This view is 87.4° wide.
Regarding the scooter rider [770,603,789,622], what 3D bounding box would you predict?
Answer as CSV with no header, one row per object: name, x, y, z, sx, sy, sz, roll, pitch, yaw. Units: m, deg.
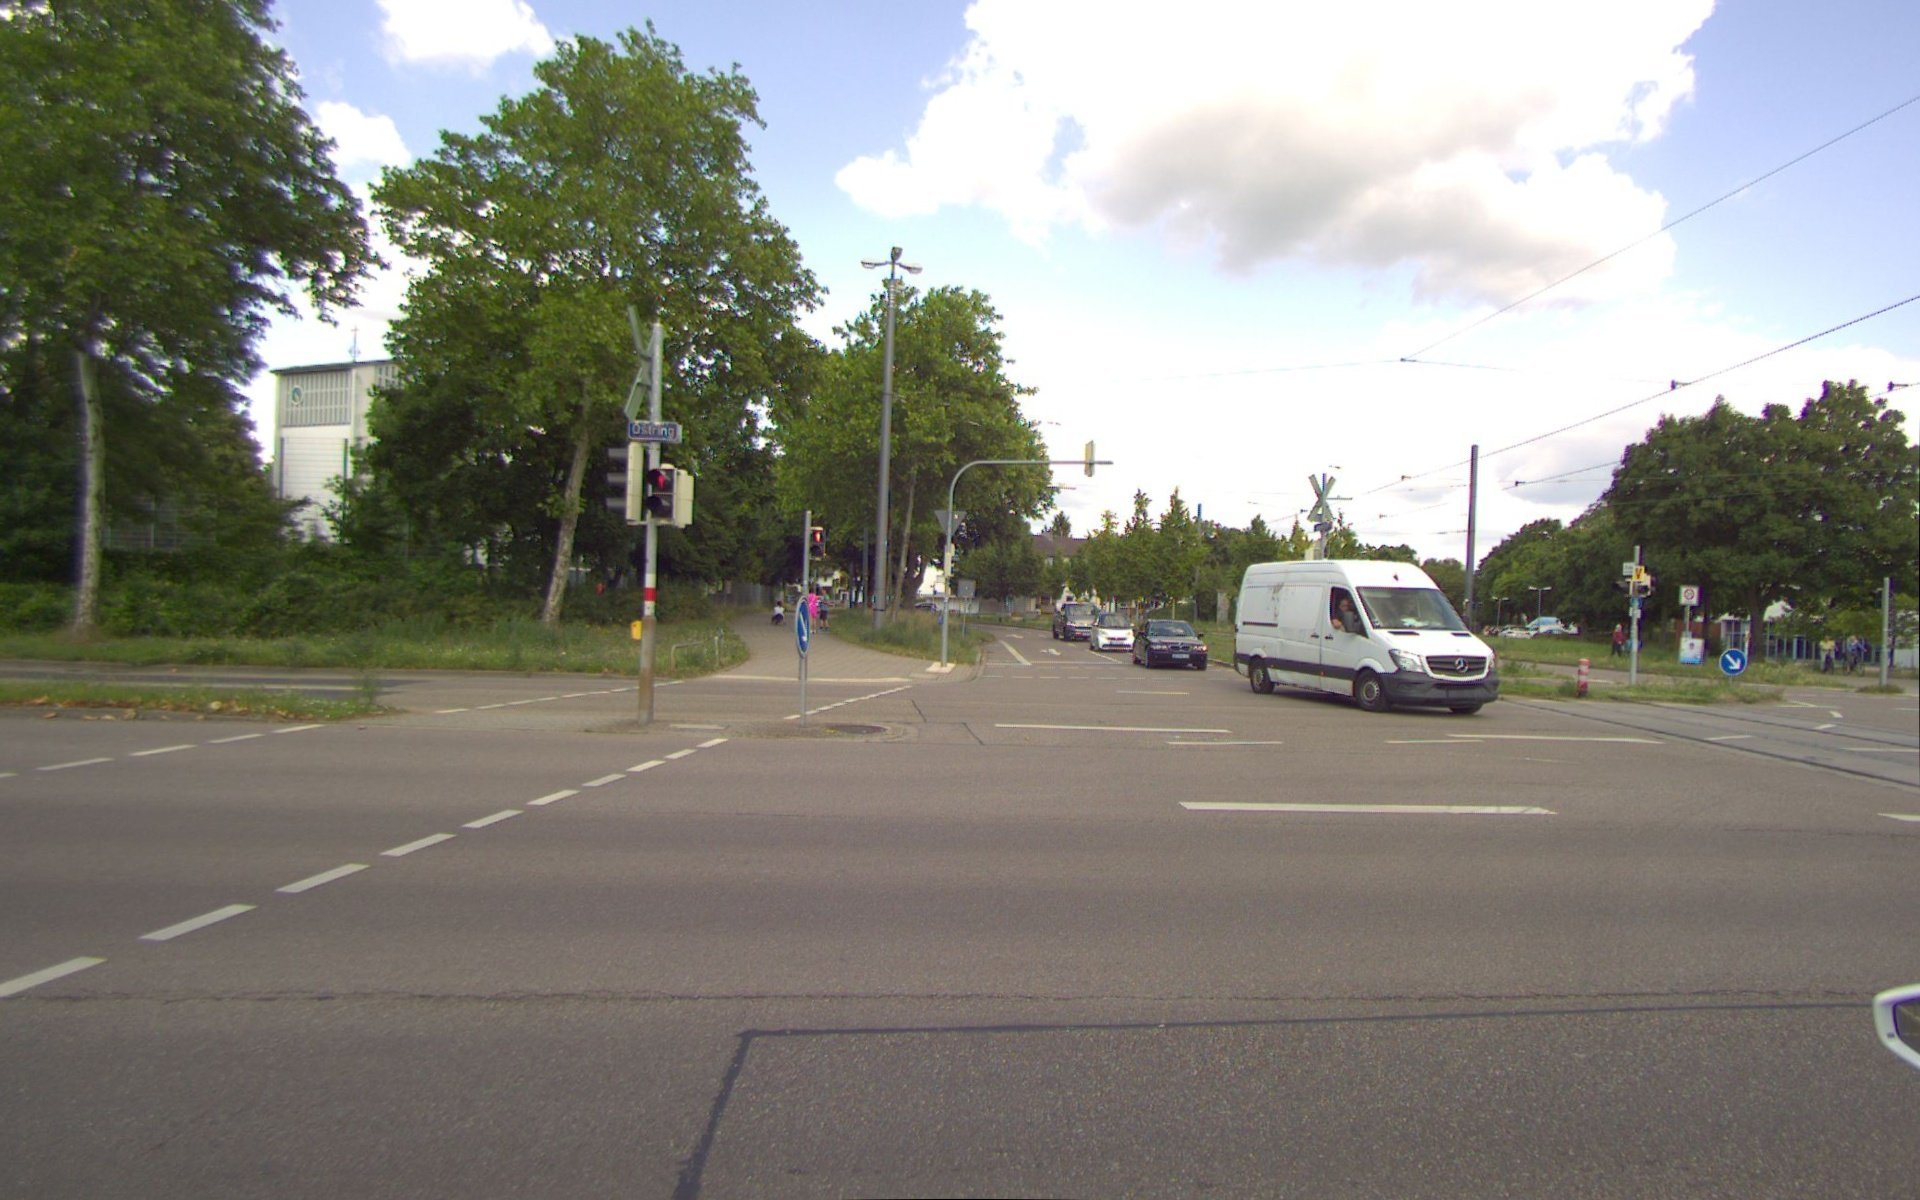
scooter rider,-6.887,0.476,38.392,0.600,0.738,0.859,0,0,-2

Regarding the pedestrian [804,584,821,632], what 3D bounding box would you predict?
pedestrian,-5.104,0.274,34.663,0.413,1.641,0.596,1,0,6

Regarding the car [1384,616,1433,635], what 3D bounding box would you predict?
car,40.323,2.319,90.405,3.923,1.550,1.999,2,0,23

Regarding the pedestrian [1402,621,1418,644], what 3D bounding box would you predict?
pedestrian,27.237,1.963,60.783,0.638,1.372,0.752,0,0,-3

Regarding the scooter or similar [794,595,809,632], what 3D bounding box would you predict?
scooter or similar,-5.511,0.462,34.955,0.315,1.248,0.776,0,0,8

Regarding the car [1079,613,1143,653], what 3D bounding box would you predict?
car,6.146,1.312,41.269,1.776,1.450,4.381,2,0,-2

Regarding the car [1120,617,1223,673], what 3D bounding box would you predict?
car,6.051,1.265,29.268,1.777,1.450,4.467,2,-1,-4

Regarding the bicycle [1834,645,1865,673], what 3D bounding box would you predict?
bicycle,38.253,2.526,43.220,0.552,1.145,1.379,3,0,24

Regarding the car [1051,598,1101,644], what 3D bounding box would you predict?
car,5.862,1.027,51.244,1.819,2.184,4.381,2,0,-2

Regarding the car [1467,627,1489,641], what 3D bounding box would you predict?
car,64.411,4.184,124.994,1.961,1.662,4.389,2,0,22

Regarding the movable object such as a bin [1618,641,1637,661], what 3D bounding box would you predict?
movable object such as a bin,29.442,2.244,44.305,0.570,0.822,0.458,0,0,-18

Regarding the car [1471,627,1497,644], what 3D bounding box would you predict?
car,55.399,3.704,106.271,1.961,1.662,4.389,2,0,22

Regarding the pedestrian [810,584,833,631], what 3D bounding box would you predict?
pedestrian,-4.884,0.262,35.420,0.620,1.641,0.611,1,0,6

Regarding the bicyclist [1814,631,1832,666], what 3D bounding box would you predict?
bicyclist,39.472,2.206,45.945,0.478,1.574,0.555,3,1,29

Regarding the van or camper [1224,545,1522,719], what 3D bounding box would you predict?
van or camper,7.069,0.497,18.192,1.947,2.558,6.024,2,0,-11

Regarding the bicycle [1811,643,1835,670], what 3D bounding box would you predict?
bicycle,39.448,2.583,45.928,0.552,1.145,1.377,2,0,29

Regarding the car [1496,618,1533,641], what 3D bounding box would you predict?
car,42.600,2.252,77.225,1.961,1.662,4.389,2,0,22

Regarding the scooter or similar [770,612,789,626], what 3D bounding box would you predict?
scooter or similar,-6.893,0.715,38.393,0.599,0.518,0.857,0,0,-2

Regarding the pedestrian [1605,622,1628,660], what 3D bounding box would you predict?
pedestrian,29.290,1.820,44.816,0.603,1.666,0.636,0,0,-17

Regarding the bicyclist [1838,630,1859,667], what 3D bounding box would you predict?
bicyclist,38.301,2.077,43.290,0.478,1.574,0.556,3,0,25
